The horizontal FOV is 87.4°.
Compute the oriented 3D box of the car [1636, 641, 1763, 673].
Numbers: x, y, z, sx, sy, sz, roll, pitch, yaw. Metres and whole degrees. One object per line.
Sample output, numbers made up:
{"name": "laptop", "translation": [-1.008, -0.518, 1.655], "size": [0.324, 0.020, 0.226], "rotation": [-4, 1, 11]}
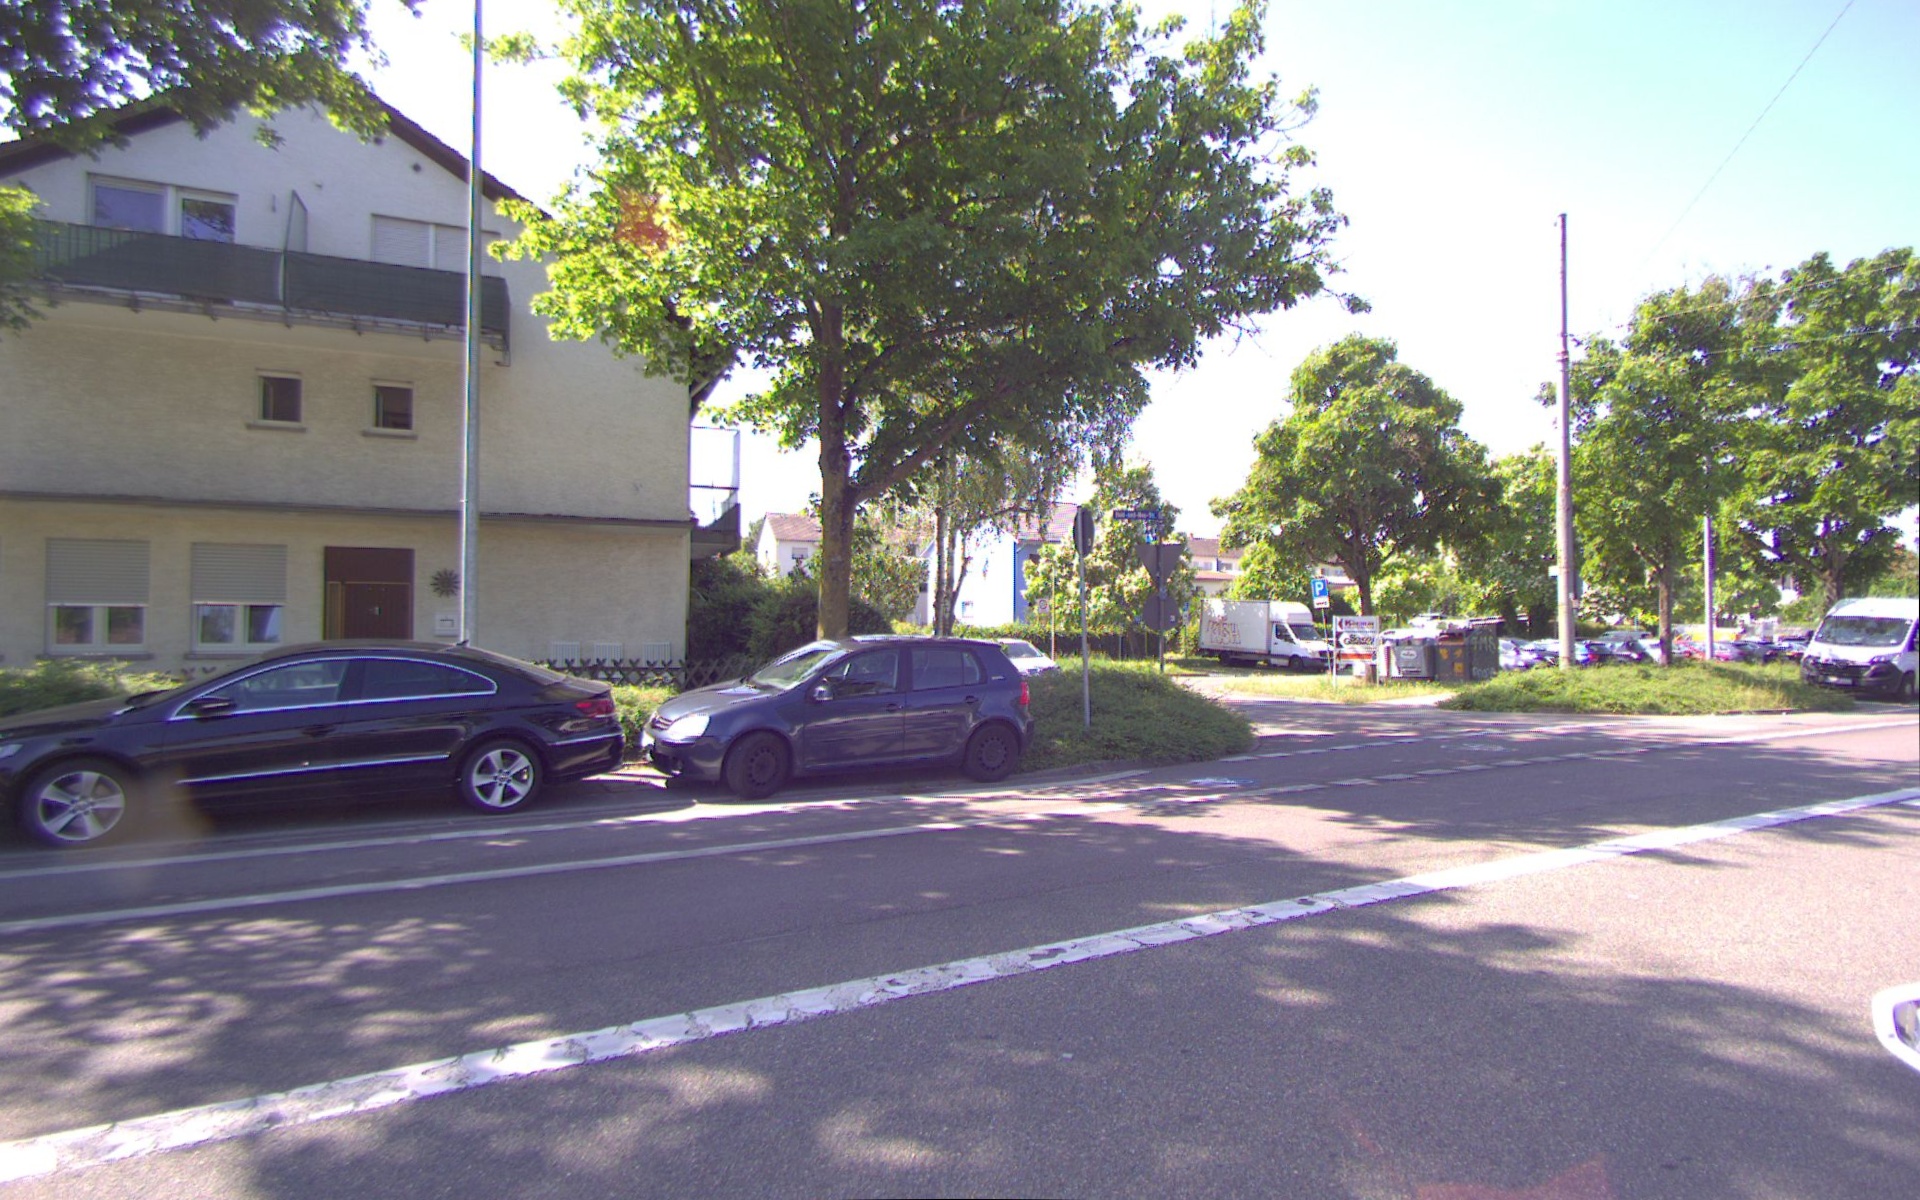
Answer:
{"name": "car", "translation": [31.115, 2.356, 42.375], "size": [1.748, 1.241, 3.973], "rotation": [1, -2, -27]}

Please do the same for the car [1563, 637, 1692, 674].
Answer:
{"name": "car", "translation": [26.652, 2.189, 40.214], "size": [1.748, 1.368, 3.973], "rotation": [1, -2, -27]}

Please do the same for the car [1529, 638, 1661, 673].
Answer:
{"name": "car", "translation": [24.474, 2.115, 38.851], "size": [1.748, 1.241, 3.973], "rotation": [1, -2, -27]}

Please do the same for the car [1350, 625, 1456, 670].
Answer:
{"name": "car", "translation": [22.880, 2.433, 52.020], "size": [1.980, 2.040, 4.663], "rotation": [2, 0, -34]}

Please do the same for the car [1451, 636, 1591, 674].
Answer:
{"name": "car", "translation": [19.662, 1.900, 35.365], "size": [1.751, 1.241, 3.967], "rotation": [1, -2, -31]}

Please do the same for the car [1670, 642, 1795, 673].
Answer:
{"name": "car", "translation": [33.427, 2.446, 43.581], "size": [1.748, 1.241, 3.973], "rotation": [1, -2, -27]}

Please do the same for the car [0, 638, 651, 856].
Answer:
{"name": "car", "translation": [-5.178, 1.041, 8.377], "size": [4.727, 1.398, 1.682], "rotation": [1, -1, -31]}

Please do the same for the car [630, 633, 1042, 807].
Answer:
{"name": "car", "translation": [-1.246, 1.124, 10.517], "size": [3.956, 1.470, 1.634], "rotation": [2, 0, -29]}

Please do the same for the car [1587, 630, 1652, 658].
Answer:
{"name": "car", "translation": [44.953, 2.977, 68.544], "size": [1.535, 1.901, 3.406], "rotation": [1, -2, -31]}

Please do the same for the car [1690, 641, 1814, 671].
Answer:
{"name": "car", "translation": [35.297, 2.467, 44.875], "size": [1.748, 1.241, 3.973], "rotation": [1, -2, -27]}

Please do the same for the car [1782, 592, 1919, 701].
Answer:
{"name": "car", "translation": [24.038, 1.142, 25.924], "size": [6.227, 2.534, 2.050], "rotation": [1, 1, -28]}

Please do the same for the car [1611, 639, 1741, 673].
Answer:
{"name": "car", "translation": [29.047, 2.259, 40.891], "size": [1.748, 1.281, 3.973], "rotation": [1, -2, -27]}

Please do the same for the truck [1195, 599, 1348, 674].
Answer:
{"name": "truck", "translation": [14.311, 1.580, 46.768], "size": [2.206, 3.059, 7.103], "rotation": [1, 1, -31]}

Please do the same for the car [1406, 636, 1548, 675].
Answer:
{"name": "car", "translation": [17.462, 1.850, 34.098], "size": [1.751, 1.241, 3.967], "rotation": [1, -2, -31]}

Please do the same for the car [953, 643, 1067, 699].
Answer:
{"name": "car", "translation": [1.336, 1.956, 28.502], "size": [1.687, 1.437, 3.979], "rotation": [1, -2, -23]}

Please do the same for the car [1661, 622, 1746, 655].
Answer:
{"name": "car", "translation": [50.702, 2.634, 68.543], "size": [1.981, 2.040, 4.228], "rotation": [2, 0, -35]}

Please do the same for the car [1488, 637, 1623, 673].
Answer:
{"name": "car", "translation": [21.822, 1.985, 36.973], "size": [1.748, 1.241, 3.973], "rotation": [1, -2, -27]}
